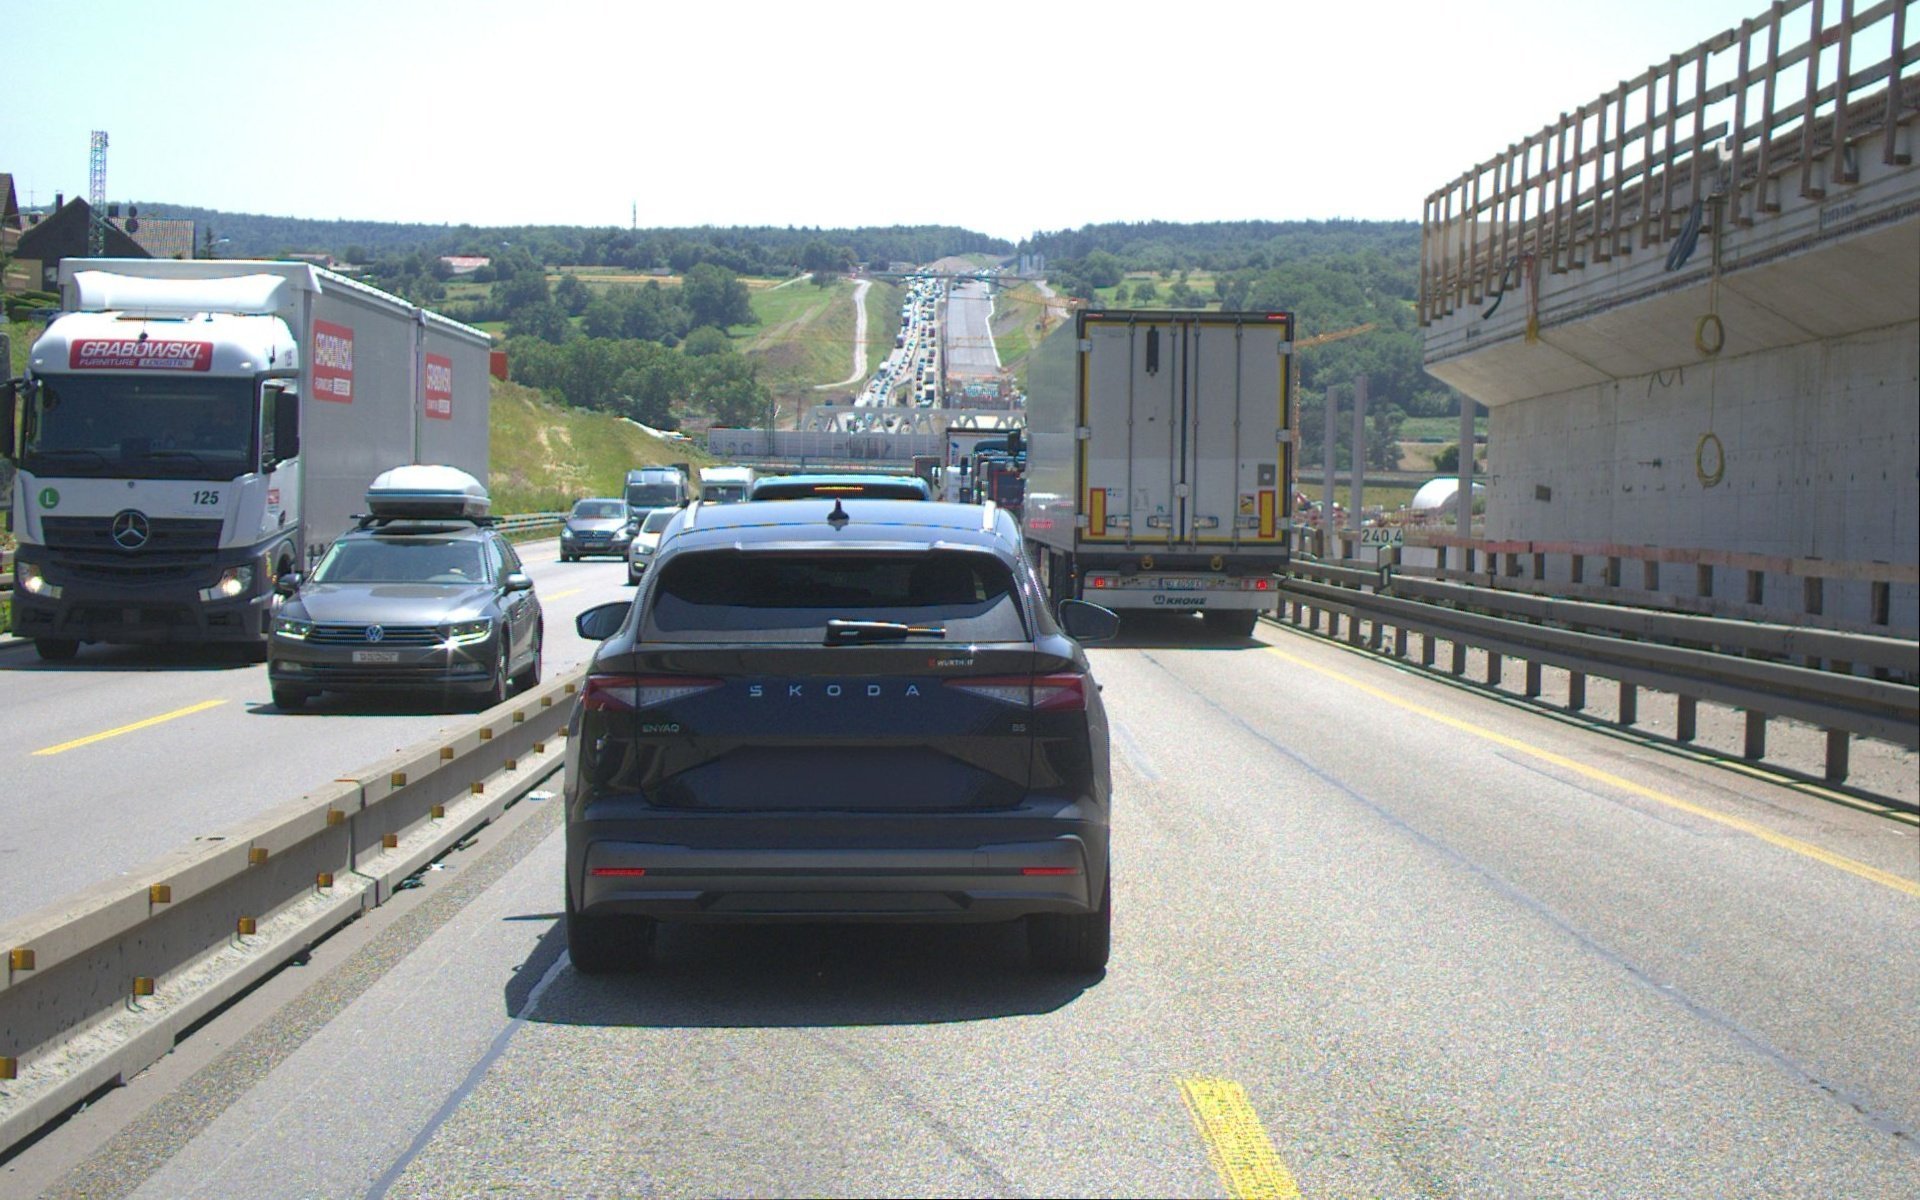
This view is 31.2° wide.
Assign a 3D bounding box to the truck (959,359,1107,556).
[{"bbox_3d":[1.669,-3.324,83.026,3.180,4.497,8.166,1,1,-1],"label":"truck"}]

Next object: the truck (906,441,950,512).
[{"bbox_3d":[-2.039,-7.714,215.937,2.639,4.179,9.285,1,1,-1],"label":"truck"}]

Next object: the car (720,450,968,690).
[{"bbox_3d":[-0.994,-0.272,30.166,1.993,1.919,4.508,1,1,-1],"label":"car"}]

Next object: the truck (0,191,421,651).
[{"bbox_3d":[-8.049,-1.836,38.257,2.621,4.381,10.386,1,1,-1],"label":"truck"}]

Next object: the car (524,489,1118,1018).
[{"bbox_3d":[-0.440,0.426,12.535,1.802,1.602,4.000,1,1,0],"label":"car"}]

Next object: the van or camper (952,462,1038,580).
[{"bbox_3d":[1.034,-2.247,99.407,2.389,3.269,6.469,1,1,1],"label":"van or camper"}]

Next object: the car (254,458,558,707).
[{"bbox_3d":[-4.498,-0.199,28.520,1.849,1.883,4.502,1,2,-1],"label":"car"}]

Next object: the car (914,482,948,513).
[{"bbox_3d":[-1.584,-5.530,185.521,1.813,1.596,4.574,1,2,-1],"label":"car"}]

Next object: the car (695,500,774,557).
[{"bbox_3d":[-5.771,-1.866,88.447,1.829,1.428,4.630,0,2,-1],"label":"car"}]

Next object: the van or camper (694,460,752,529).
[{"bbox_3d":[-10.756,-4.792,156.427,2.291,3.056,6.925,1,2,-1],"label":"van or camper"}]

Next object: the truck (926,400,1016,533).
[{"bbox_3d":[0.310,-4.730,124.762,2.852,4.449,11.919,1,1,-2],"label":"truck"}]

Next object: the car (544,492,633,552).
[{"bbox_3d":[-9.376,-1.956,87.003,1.993,1.469,4.001,1,1,-3],"label":"car"}]

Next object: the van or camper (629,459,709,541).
[{"bbox_3d":[-9.520,-3.279,112.855,2.140,2.564,6.565,1,2,-1],"label":"van or camper"}]

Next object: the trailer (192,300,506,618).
[{"bbox_3d":[-8.296,-1.880,47.796,2.929,3.975,8.707,1,1,-1],"label":"trailer"}]

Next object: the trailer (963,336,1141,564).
[{"bbox_3d":[1.842,-3.080,76.032,3.180,4.497,14.968,1,1,-1],"label":"trailer"}]

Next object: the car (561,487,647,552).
[{"bbox_3d":[-8.996,-2.052,87.122,1.773,1.576,4.286,2,2,-1],"label":"car"}]

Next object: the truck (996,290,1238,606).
[{"bbox_3d":[2.298,-2.342,53.549,3.180,4.497,8.167,1,2,-1],"label":"truck"}]

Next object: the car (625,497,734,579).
[{"bbox_3d":[-5.244,-1.183,64.684,1.802,1.459,4.001,1,1,-1],"label":"car"}]

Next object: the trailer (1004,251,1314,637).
[{"bbox_3d":[2.424,-2.082,47.085,3.180,4.497,13.110,1,2,-1],"label":"trailer"}]

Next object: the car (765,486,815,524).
[{"bbox_3d":[-6.820,-3.809,138.086,1.842,1.470,4.835,1,2,-1],"label":"car"}]
